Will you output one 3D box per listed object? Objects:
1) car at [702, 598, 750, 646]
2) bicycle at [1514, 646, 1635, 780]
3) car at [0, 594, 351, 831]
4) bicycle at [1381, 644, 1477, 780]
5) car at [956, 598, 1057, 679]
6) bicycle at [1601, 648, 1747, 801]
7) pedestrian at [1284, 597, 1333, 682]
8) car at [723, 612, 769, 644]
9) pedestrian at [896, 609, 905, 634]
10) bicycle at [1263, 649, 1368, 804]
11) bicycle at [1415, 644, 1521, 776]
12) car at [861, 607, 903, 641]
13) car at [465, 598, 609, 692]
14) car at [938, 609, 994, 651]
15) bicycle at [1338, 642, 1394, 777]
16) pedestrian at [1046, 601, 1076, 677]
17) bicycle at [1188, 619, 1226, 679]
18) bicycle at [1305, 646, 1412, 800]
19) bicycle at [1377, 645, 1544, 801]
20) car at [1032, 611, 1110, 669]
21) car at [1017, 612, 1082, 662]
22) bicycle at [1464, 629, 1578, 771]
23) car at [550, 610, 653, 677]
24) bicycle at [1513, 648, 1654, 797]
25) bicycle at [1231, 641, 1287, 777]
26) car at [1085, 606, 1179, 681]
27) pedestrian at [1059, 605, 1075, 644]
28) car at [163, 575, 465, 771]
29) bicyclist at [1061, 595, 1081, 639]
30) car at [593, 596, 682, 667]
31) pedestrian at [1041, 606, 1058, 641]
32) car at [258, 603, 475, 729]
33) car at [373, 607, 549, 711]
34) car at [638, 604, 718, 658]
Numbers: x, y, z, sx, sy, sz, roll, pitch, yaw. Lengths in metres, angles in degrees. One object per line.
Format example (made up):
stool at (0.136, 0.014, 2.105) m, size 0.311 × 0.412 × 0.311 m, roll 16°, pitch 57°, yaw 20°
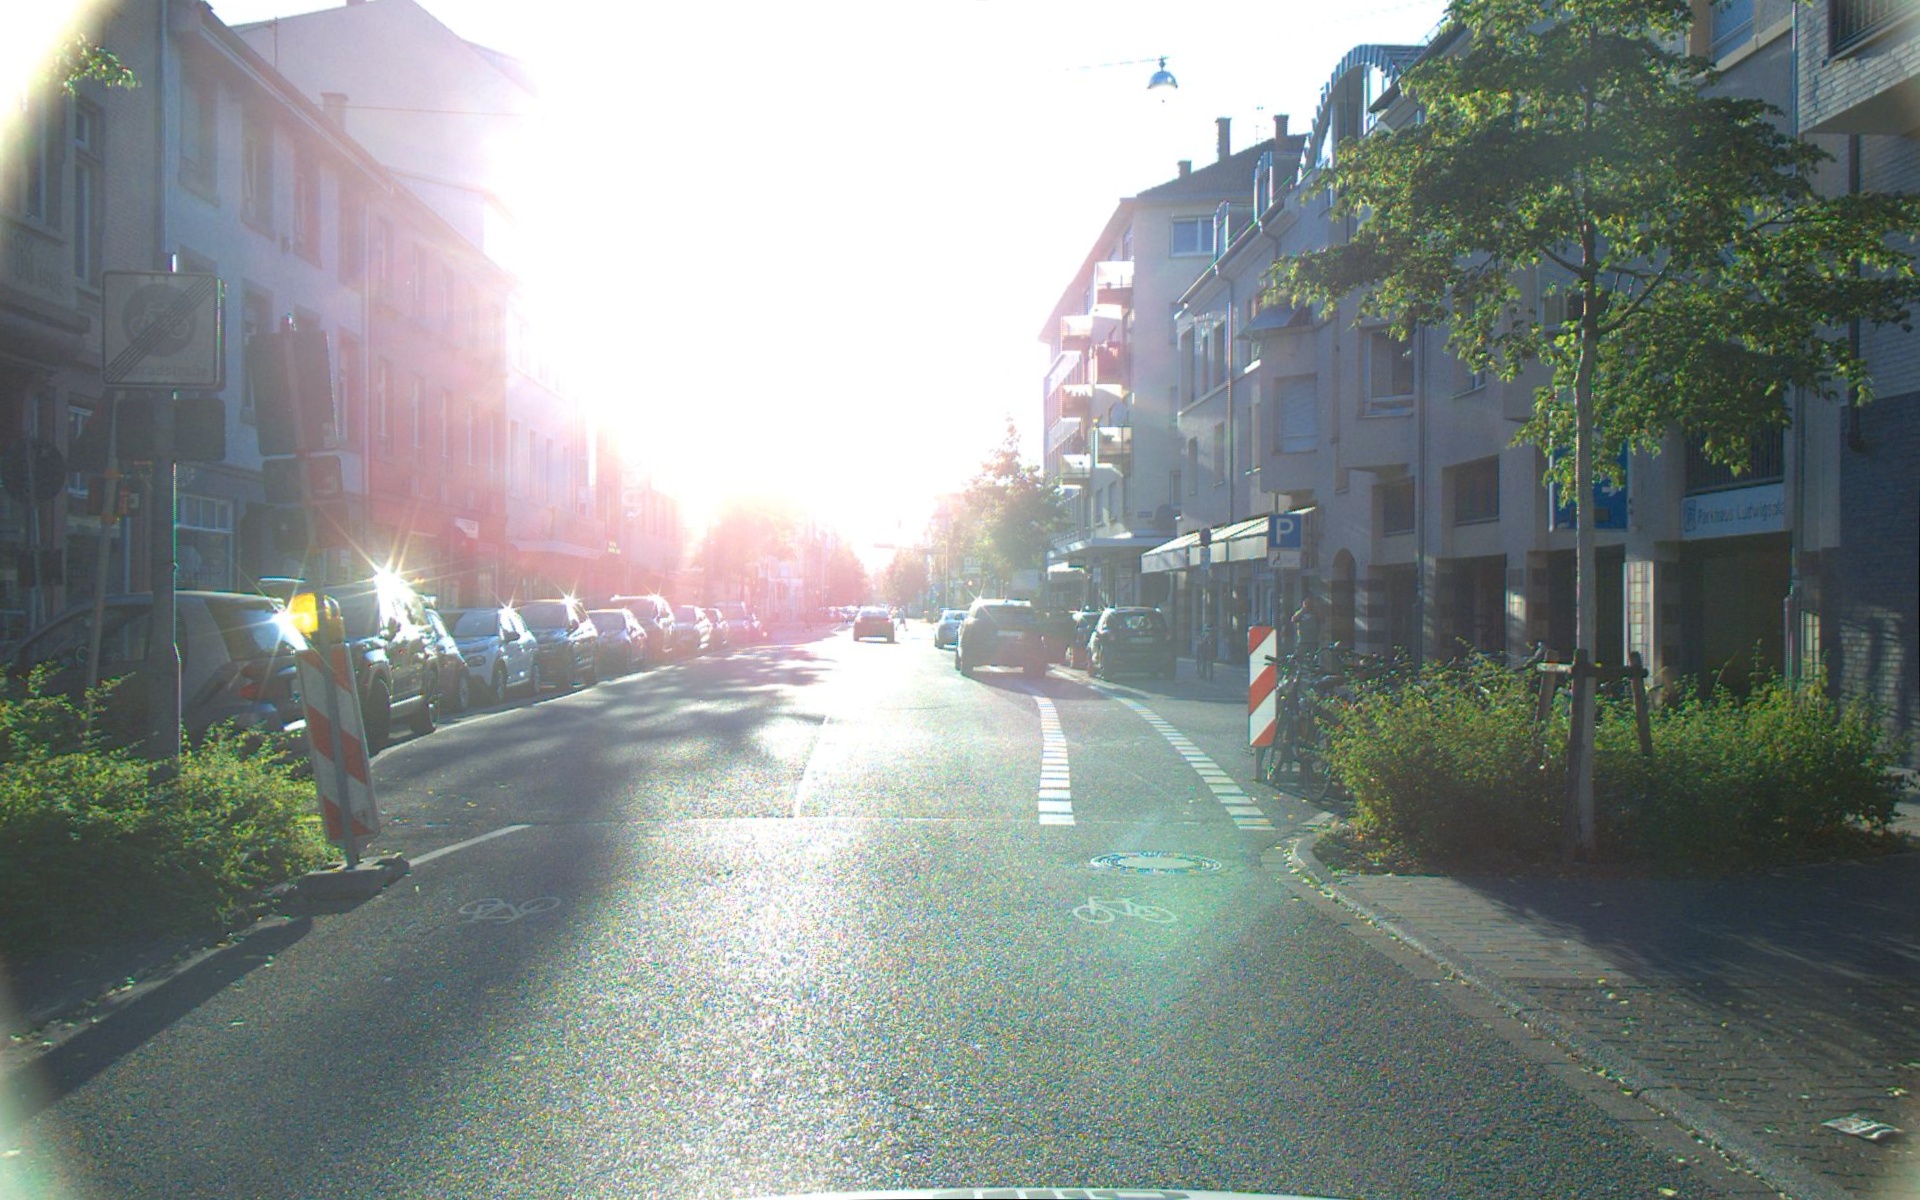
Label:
car at (-9.587, 0.889, 68.008) m, size 1.797 × 1.887 × 4.118 m, roll 0°, pitch -1°, yaw -6°
bicycle at (5.530, 0.990, 14.953) m, size 0.374 × 1.119 × 1.521 m, roll 0°, pitch -1°, yaw -6°
car at (-6.104, 0.780, 12.218) m, size 2.642 × 1.547 × 1.570 m, roll -2°, pitch 1°, yaw -6°
bicycle at (4.184, 0.971, 14.831) m, size 0.374 × 1.119 × 1.565 m, roll 0°, pitch 0°, yaw -1°
car at (0.997, 0.837, 37.738) m, size 1.955 × 1.684 × 4.671 m, roll 2°, pitch 0°, yaw -2°
bicycle at (5.730, 0.968, 13.351) m, size 0.374 × 1.119 × 1.521 m, roll 0°, pitch 0°, yaw -6°
pedestrian at (7.039, 0.795, 33.406) m, size 0.794 × 1.675 × 0.606 m, roll -2°, pitch -1°, yaw -3°
car at (-9.600, 1.247, 74.426) m, size 1.796 × 1.351 × 4.121 m, roll 0°, pitch 0°, yaw -3°
pedestrian at (-4.123, 1.494, 114.340) m, size 0.488 × 1.745 × 0.459 m, roll 0°, pitch 0°, yaw -23°
bicycle at (2.809, 0.969, 13.191) m, size 0.374 × 1.119 × 1.521 m, roll 0°, pitch 0°, yaw -5°
bicycle at (4.653, 0.984, 15.214) m, size 0.374 × 1.119 × 1.521 m, roll 0°, pitch -1°, yaw -6°
car at (-3.522, 1.068, 74.838) m, size 1.846 × 1.440 × 4.323 m, roll 1°, pitch 0°, yaw -2°
car at (-7.897, 0.800, 31.240) m, size 1.738 × 1.661 × 4.236 m, roll 0°, pitch 0°, yaw -2°
car at (0.198, 1.114, 62.546) m, size 1.883 × 1.440 × 4.546 m, roll 2°, pitch 0°, yaw -2°
bicycle at (3.690, 0.968, 15.077) m, size 0.363 × 1.127 × 1.524 m, roll 0°, pitch 0°, yaw 9°
pedestrian at (2.284, 0.878, 37.530) m, size 0.436 × 1.694 × 0.560 m, roll -1°, pitch 0°, yaw -27°
bicycle at (5.381, 1.062, 36.144) m, size 0.389 × 1.256 × 1.823 m, roll -1°, pitch 0°, yaw -5°
bicycle at (3.221, 0.967, 13.476) m, size 0.374 × 1.119 × 1.521 m, roll 0°, pitch 1°, yaw -5°
bicycle at (3.913, 0.935, 13.043) m, size 0.376 × 1.119 × 1.512 m, roll 0°, pitch 0°, yaw -23°
car at (2.885, 1.029, 43.645) m, size 1.601 × 1.449 × 3.755 m, roll -1°, pitch 0°, yaw -3°
car at (2.748, 1.118, 51.421) m, size 1.669 × 1.461 × 3.930 m, roll -1°, pitch 0°, yaw -2°
bicycle at (5.092, 0.880, 15.090) m, size 0.374 × 1.210 × 1.521 m, roll 1°, pitch -1°, yaw -6°
car at (-8.561, 1.010, 39.802) m, size 1.679 × 1.465 × 4.307 m, roll -2°, pitch 0°, yaw -2°
bicycle at (5.125, 0.976, 13.674) m, size 0.375 × 1.119 × 1.520 m, roll 0°, pitch 0°, yaw -9°
bicycle at (2.725, 0.963, 15.142) m, size 0.355 × 1.161 × 1.566 m, roll 0°, pitch -1°, yaw 5°
car at (3.795, 0.932, 36.876) m, size 1.601 × 1.581 × 2.691 m, roll -1°, pitch 0°, yaw -5°
pedestrian at (4.907, 1.105, 75.715) m, size 0.673 × 1.752 × 0.717 m, roll -1°, pitch -1°, yaw 3°
car at (-6.700, 0.696, 17.730) m, size 1.868 × 1.759 × 4.695 m, roll -1°, pitch 0°, yaw -7°
bicyclist at (4.379, 0.669, 65.532) m, size 0.637 × 1.732 × 1.094 m, roll 0°, pitch -1°, yaw -5°
car at (-8.963, 0.838, 46.318) m, size 1.791 × 1.842 × 5.343 m, roll -2°, pitch 0°, yaw -4°
pedestrian at (4.099, 1.078, 75.897) m, size 0.674 × 1.586 × 0.862 m, roll 0°, pitch -1°, yaw -2°
car at (-7.865, 0.830, 22.239) m, size 1.738 × 1.541 × 3.483 m, roll 1°, pitch 0°, yaw -2°
car at (-7.938, 0.887, 26.669) m, size 1.738 × 1.541 × 3.948 m, roll 0°, pitch 0°, yaw -2°
car at (-8.957, 0.960, 52.953) m, size 1.790 × 1.583 × 5.134 m, roll -2°, pitch 0°, yaw -2°
